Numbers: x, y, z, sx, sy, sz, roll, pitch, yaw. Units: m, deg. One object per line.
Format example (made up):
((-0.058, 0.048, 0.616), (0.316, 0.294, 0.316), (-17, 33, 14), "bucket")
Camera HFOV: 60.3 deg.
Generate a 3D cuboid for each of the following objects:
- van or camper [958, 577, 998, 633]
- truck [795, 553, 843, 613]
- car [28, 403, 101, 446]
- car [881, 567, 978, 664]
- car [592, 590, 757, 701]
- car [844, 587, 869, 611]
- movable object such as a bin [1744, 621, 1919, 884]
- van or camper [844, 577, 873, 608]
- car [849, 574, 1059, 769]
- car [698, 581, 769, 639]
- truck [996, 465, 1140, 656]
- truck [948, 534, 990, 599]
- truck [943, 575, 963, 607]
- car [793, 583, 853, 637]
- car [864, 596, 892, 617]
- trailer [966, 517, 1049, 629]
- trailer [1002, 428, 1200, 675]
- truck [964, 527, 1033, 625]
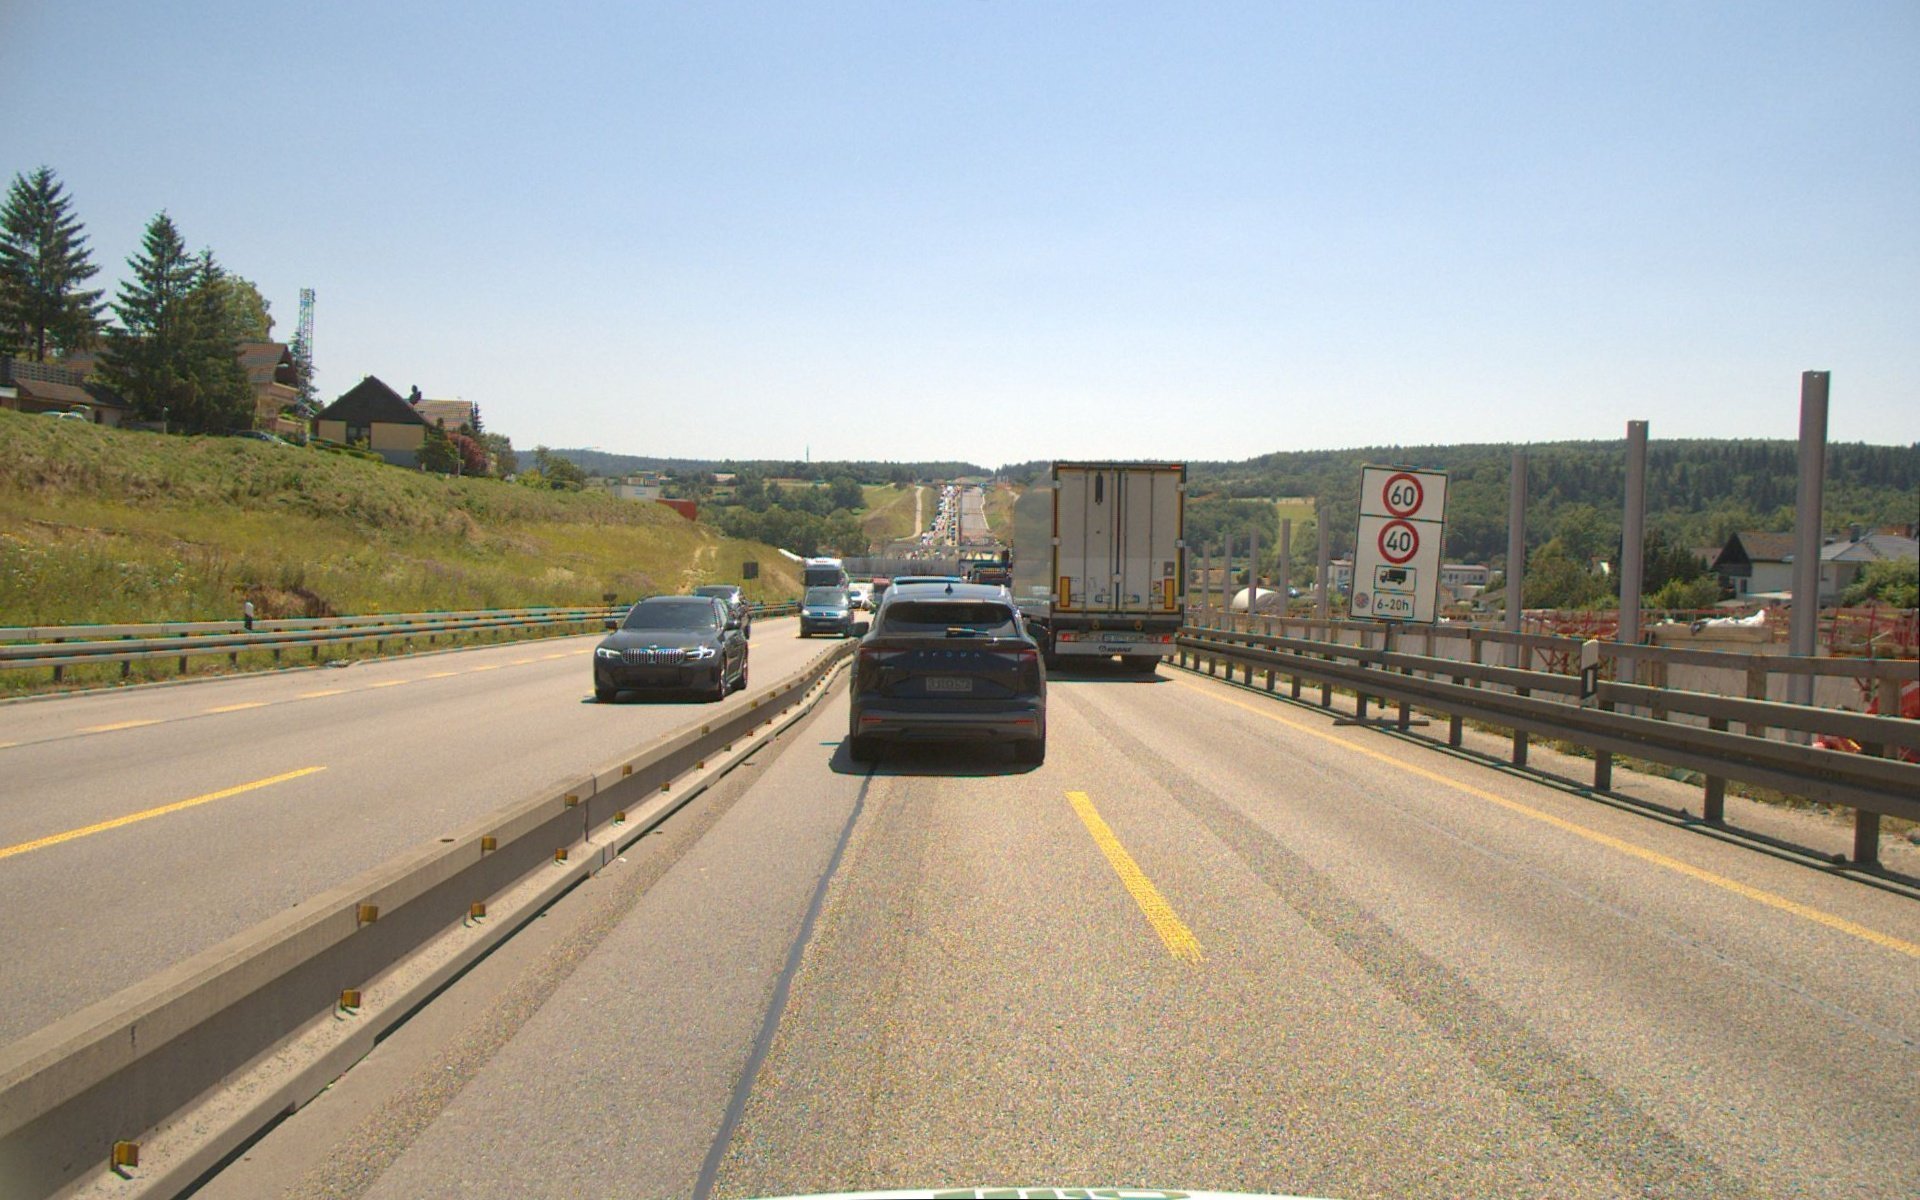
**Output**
((1.147, 0.382, 102.799), (2.339, 3.338, 6.469), (1, -1, 1), "van or camper")
((-9.187, -1.079, 108.254), (2.723, 3.737, 6.275), (1, 0, -2), "truck")
((-53.280, -10.410, 98.493), (1.951, 2.049, 4.002), (1, -1, 4), "car")
((-0.667, 0.355, 35.941), (1.953, 1.959, 4.506), (1, -1, -1), "car")
((-4.123, 0.610, 24.553), (1.761, 1.492, 4.354), (0, 0, -1), "car")
((-9.170, -0.087, 146.566), (1.953, 2.005, 5.342), (1, 0, -1), "car")
((19.148, 2.848, 32.054), (3.162, 4.826, 9.652), (1, -1, -1), "movable object such as a bin")
((-9.339, -0.690, 153.175), (2.309, 2.723, 7.856), (0, 0, -1), "van or camper")
((-0.060, 0.626, 16.119), (1.765, 1.636, 3.999), (1, -1, 0), "car")
((-7.321, 0.315, 53.819), (1.791, 1.797, 4.496), (0, 0, -1), "car")
((2.716, -0.985, 44.128), (3.116, 4.592, 8.164), (1, 0, -1), "truck")
((0.640, -2.471, 128.308), (2.794, 4.543, 11.912), (1, -1, -1), "truck")
((-0.979, -1.182, 231.709), (2.586, 4.267, 9.281), (1, -1, -1), "truck")
((-4.811, 0.331, 58.675), (1.808, 1.809, 4.881), (0, 0, -1), "car")
((-6.017, 0.455, 121.592), (1.856, 1.439, 4.678), (0, 0, 0), "car")
((1.994, -0.988, 76.189), (3.116, 4.592, 14.962), (1, -1, -1), "trailer")
((2.823, -0.967, 37.664), (3.116, 4.592, 13.106), (1, 0, -1), "trailer")
((1.864, -1.088, 83.235), (3.116, 4.592, 8.163), (1, -1, -1), "truck")
